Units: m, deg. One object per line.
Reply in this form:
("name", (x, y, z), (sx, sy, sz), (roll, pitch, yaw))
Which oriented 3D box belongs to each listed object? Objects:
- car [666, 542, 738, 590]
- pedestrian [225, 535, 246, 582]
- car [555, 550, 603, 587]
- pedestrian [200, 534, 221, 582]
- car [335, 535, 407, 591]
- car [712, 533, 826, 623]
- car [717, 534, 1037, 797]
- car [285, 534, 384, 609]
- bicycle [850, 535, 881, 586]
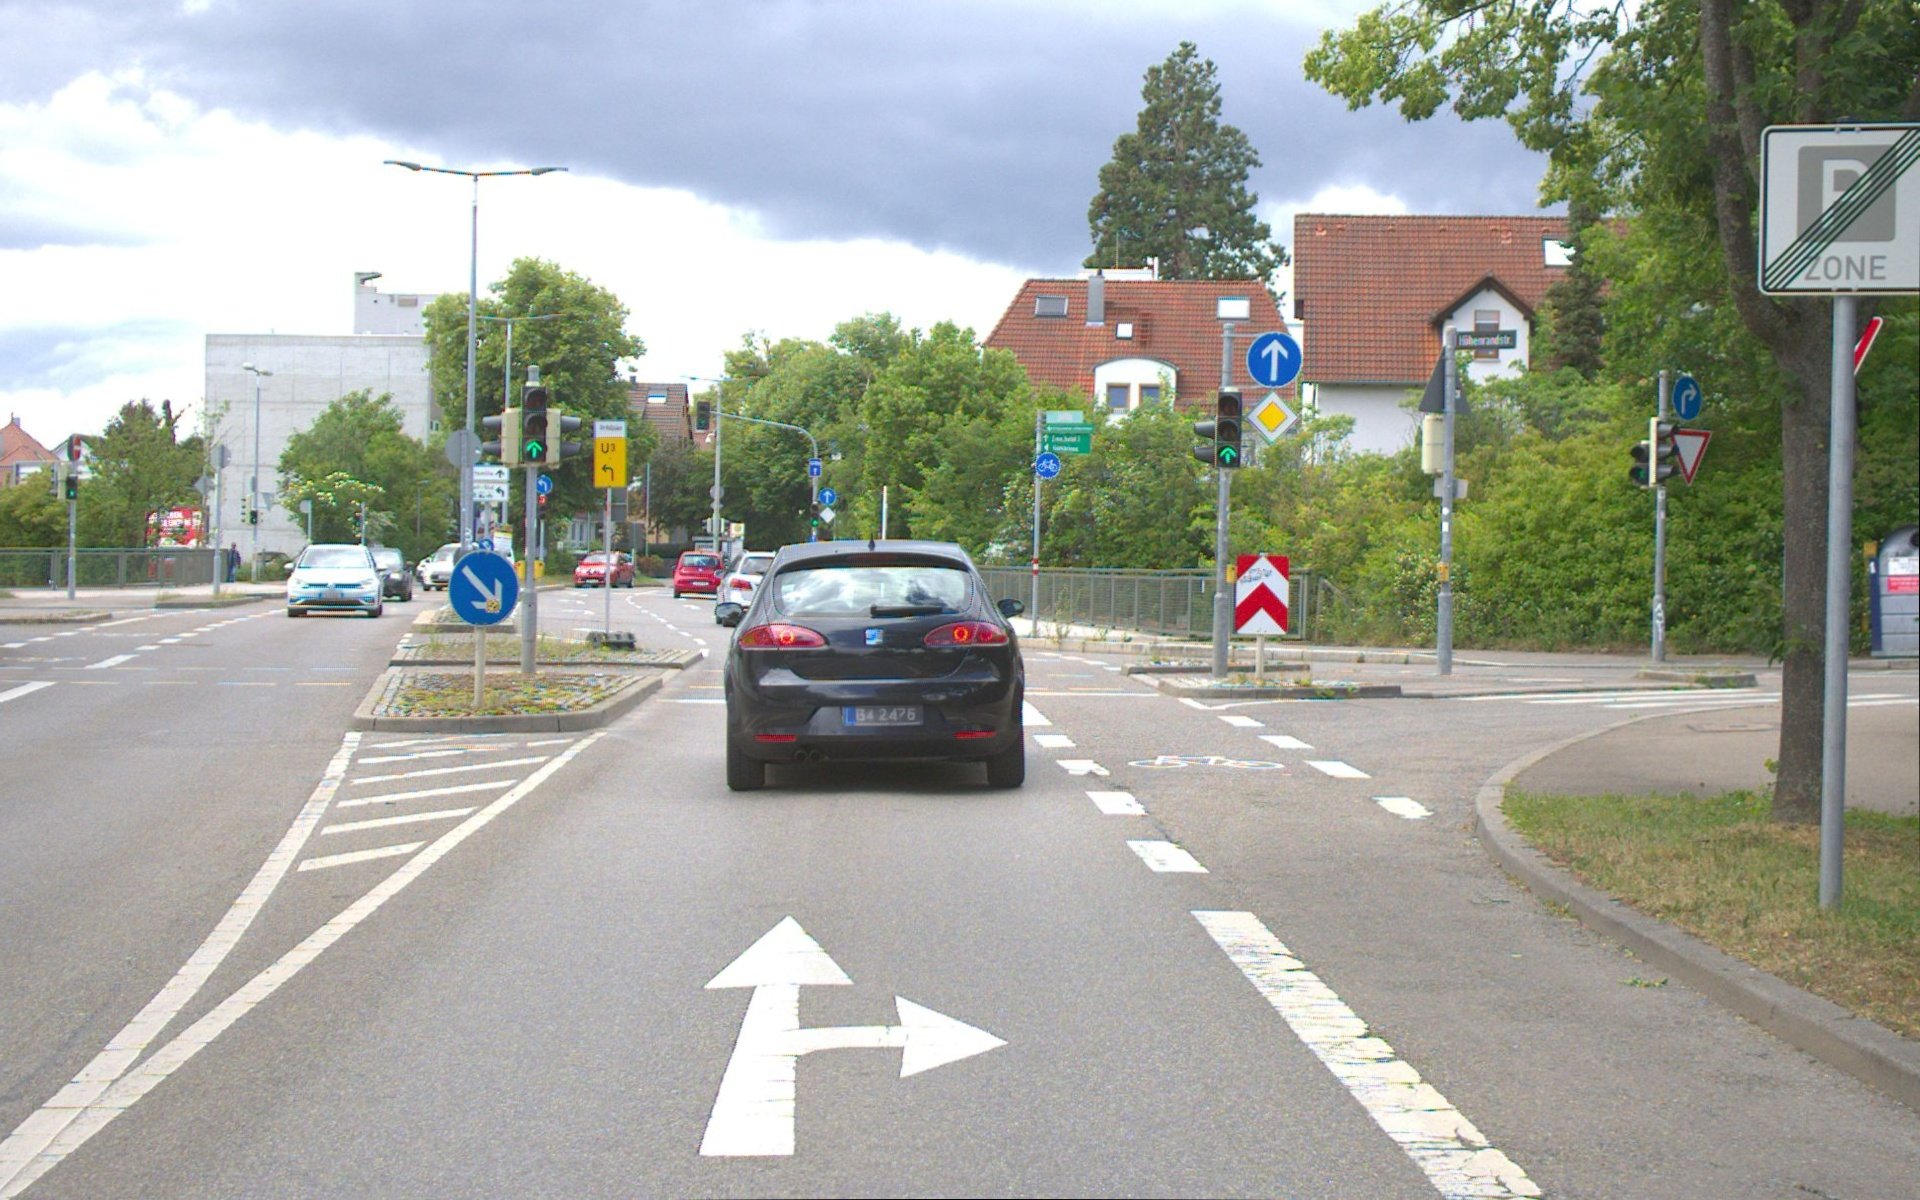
("car", (-8.184, -1.090, 108.738), (1.941, 1.476, 4.254), (0, 1, -8))
("pedestrian", (-25.332, -1.448, 120.248), (0.656, 1.628, 1.071), (2, 0, -12))
("car", (-15.406, -1.265, 138.896), (1.720, 1.443, 4.068), (1, 0, -8))
("pedestrian", (-26.186, -1.462, 120.126), (0.656, 1.628, 0.833), (2, 0, -12))
("car", (-15.519, -0.978, 90.721), (1.720, 1.386, 3.919), (2, 0, -8))
("car", (-3.754, -0.450, 66.946), (1.818, 1.693, 4.254), (0, 1, -8))
("car", (-0.555, 0.332, 20.925), (1.759, 1.444, 3.715), (0, 1, -3))
("car", (-12.407, -0.571, 68.367), (1.798, 1.439, 3.949), (1, 1, -8))
("bicycle", (-2.805, -1.178, 102.253), (0.891, 1.505, 2.783), (1, 1, -1))
